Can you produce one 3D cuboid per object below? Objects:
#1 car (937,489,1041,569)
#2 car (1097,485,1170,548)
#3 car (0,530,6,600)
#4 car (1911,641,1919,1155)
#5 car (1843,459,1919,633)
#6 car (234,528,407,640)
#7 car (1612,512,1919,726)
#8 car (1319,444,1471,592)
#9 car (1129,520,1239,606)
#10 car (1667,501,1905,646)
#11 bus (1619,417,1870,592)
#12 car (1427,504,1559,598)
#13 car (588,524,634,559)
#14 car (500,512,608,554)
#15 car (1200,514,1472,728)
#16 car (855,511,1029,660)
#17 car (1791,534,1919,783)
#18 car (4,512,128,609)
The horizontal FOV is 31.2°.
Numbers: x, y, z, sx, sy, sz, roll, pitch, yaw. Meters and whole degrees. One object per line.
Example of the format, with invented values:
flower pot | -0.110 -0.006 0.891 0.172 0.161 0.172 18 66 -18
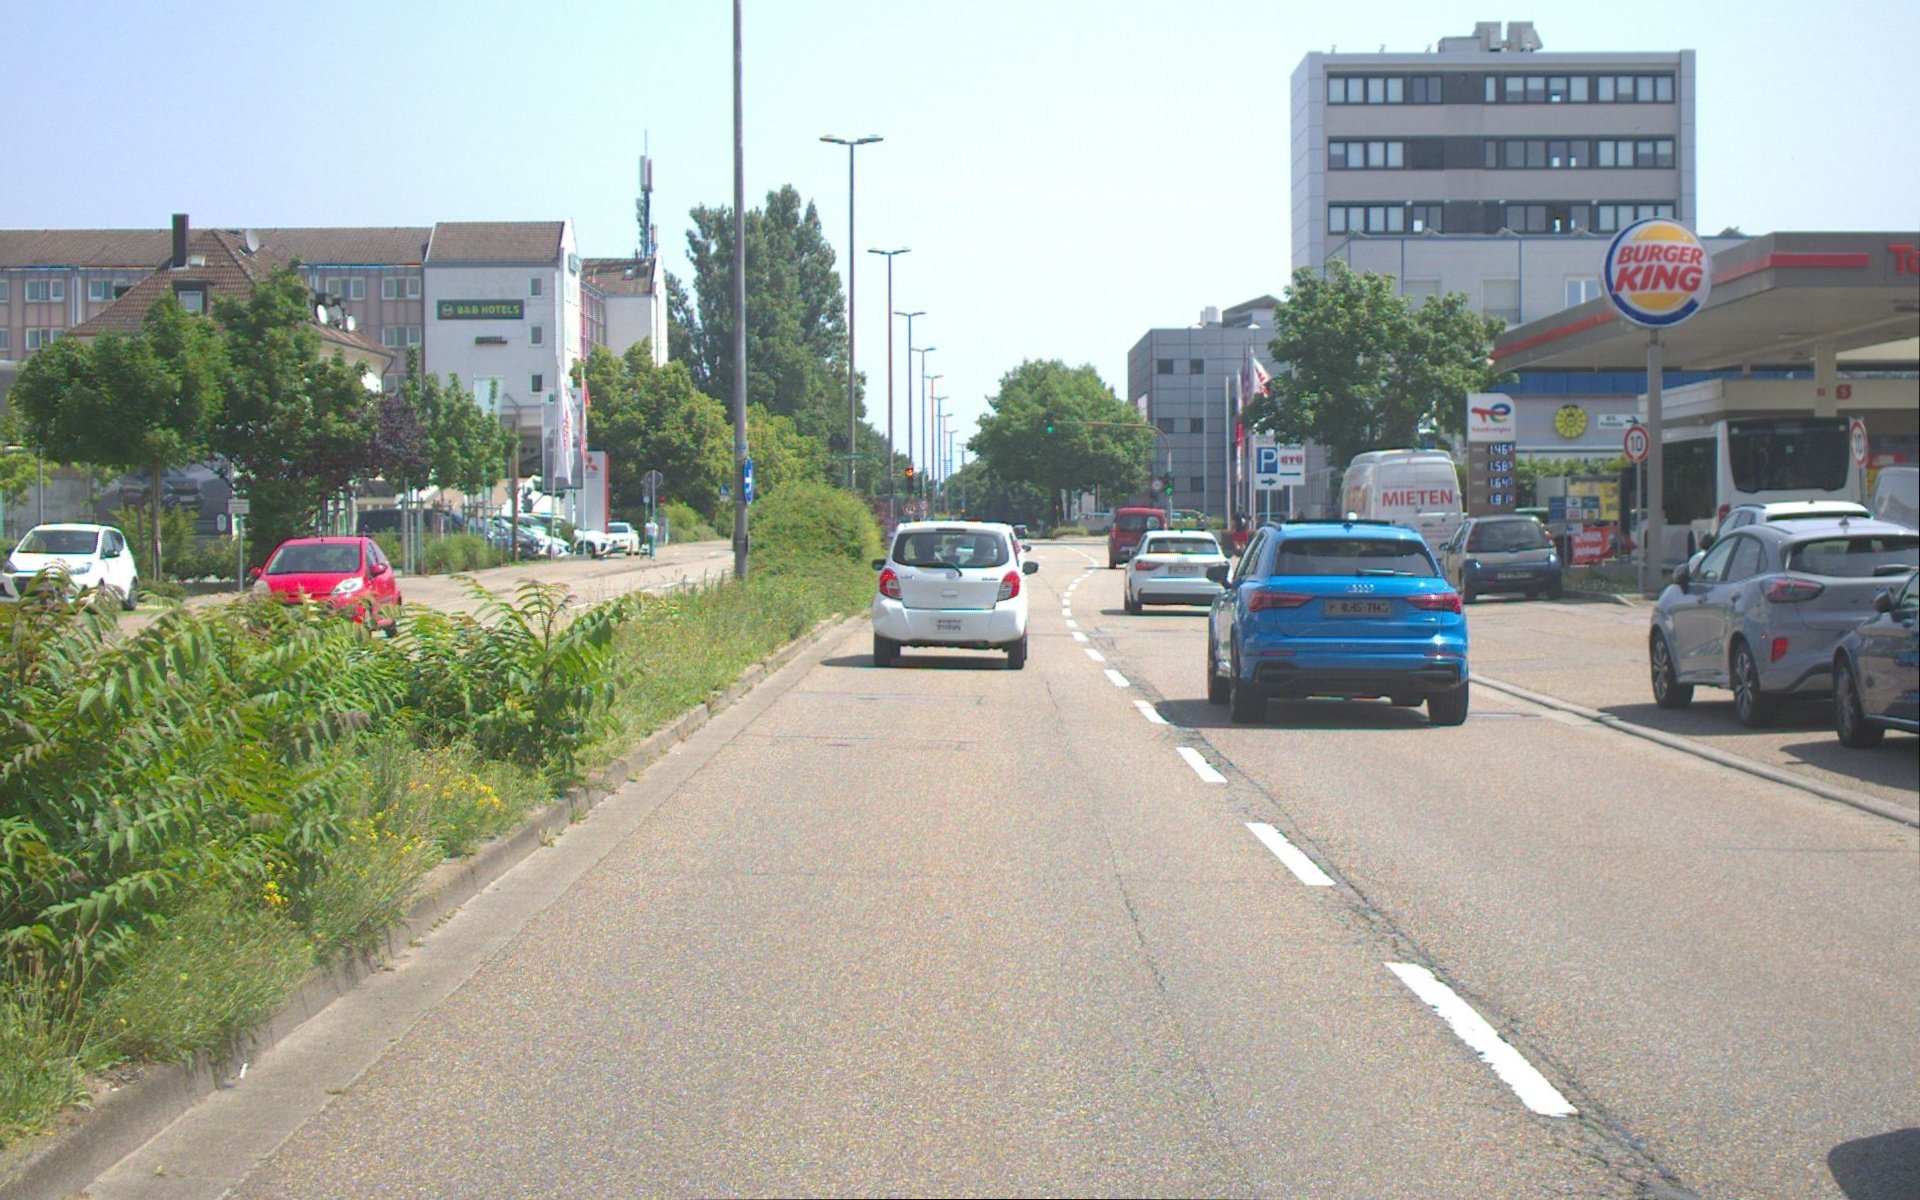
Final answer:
car | 0.548 -1.372 67.671 1.830 1.445 4.000 1 0 -2
car | 5.081 -2.426 100.859 1.794 1.723 3.973 1 0 -2
car | -22.121 -0.786 74.389 1.769 1.541 4.000 0 -1 1
car | 3.211 0.716 6.820 1.600 1.420 3.661 1 1 0
car | 12.113 -0.613 40.486 1.993 2.016 5.161 1 1 -1
car | -8.685 -0.224 46.910 1.630 1.419 3.450 -2 1 1
car | 6.574 0.094 27.089 1.732 1.547 4.181 0 1 -5
car | 9.053 -1.729 72.244 2.133 2.830 7.309 -3 1 0
car | 3.752 -0.650 58.157 1.667 1.394 3.793 0 1 1
car | 9.669 -0.357 40.572 1.667 1.590 4.613 -1 2 0
bus | 15.075 -1.924 67.039 2.805 3.068 12.284 1 2 4
car | 9.070 -0.848 58.737 1.657 1.514 3.820 -1 1 0
car | -15.191 -2.547 149.846 1.901 1.349 4.000 1 -1 -5
car | -16.235 -2.676 137.554 3.987 1.547 1.865 1 -1 3
car | 2.996 0.108 28.201 1.913 1.591 4.395 1 1 3
car | -0.232 -0.130 37.016 1.712 1.506 3.247 1 -1 -3
car | 6.775 0.347 21.716 1.713 1.543 4.791 -1 1 -2
car | -15.043 -0.638 58.003 1.678 1.489 4.043 1 -1 -10
